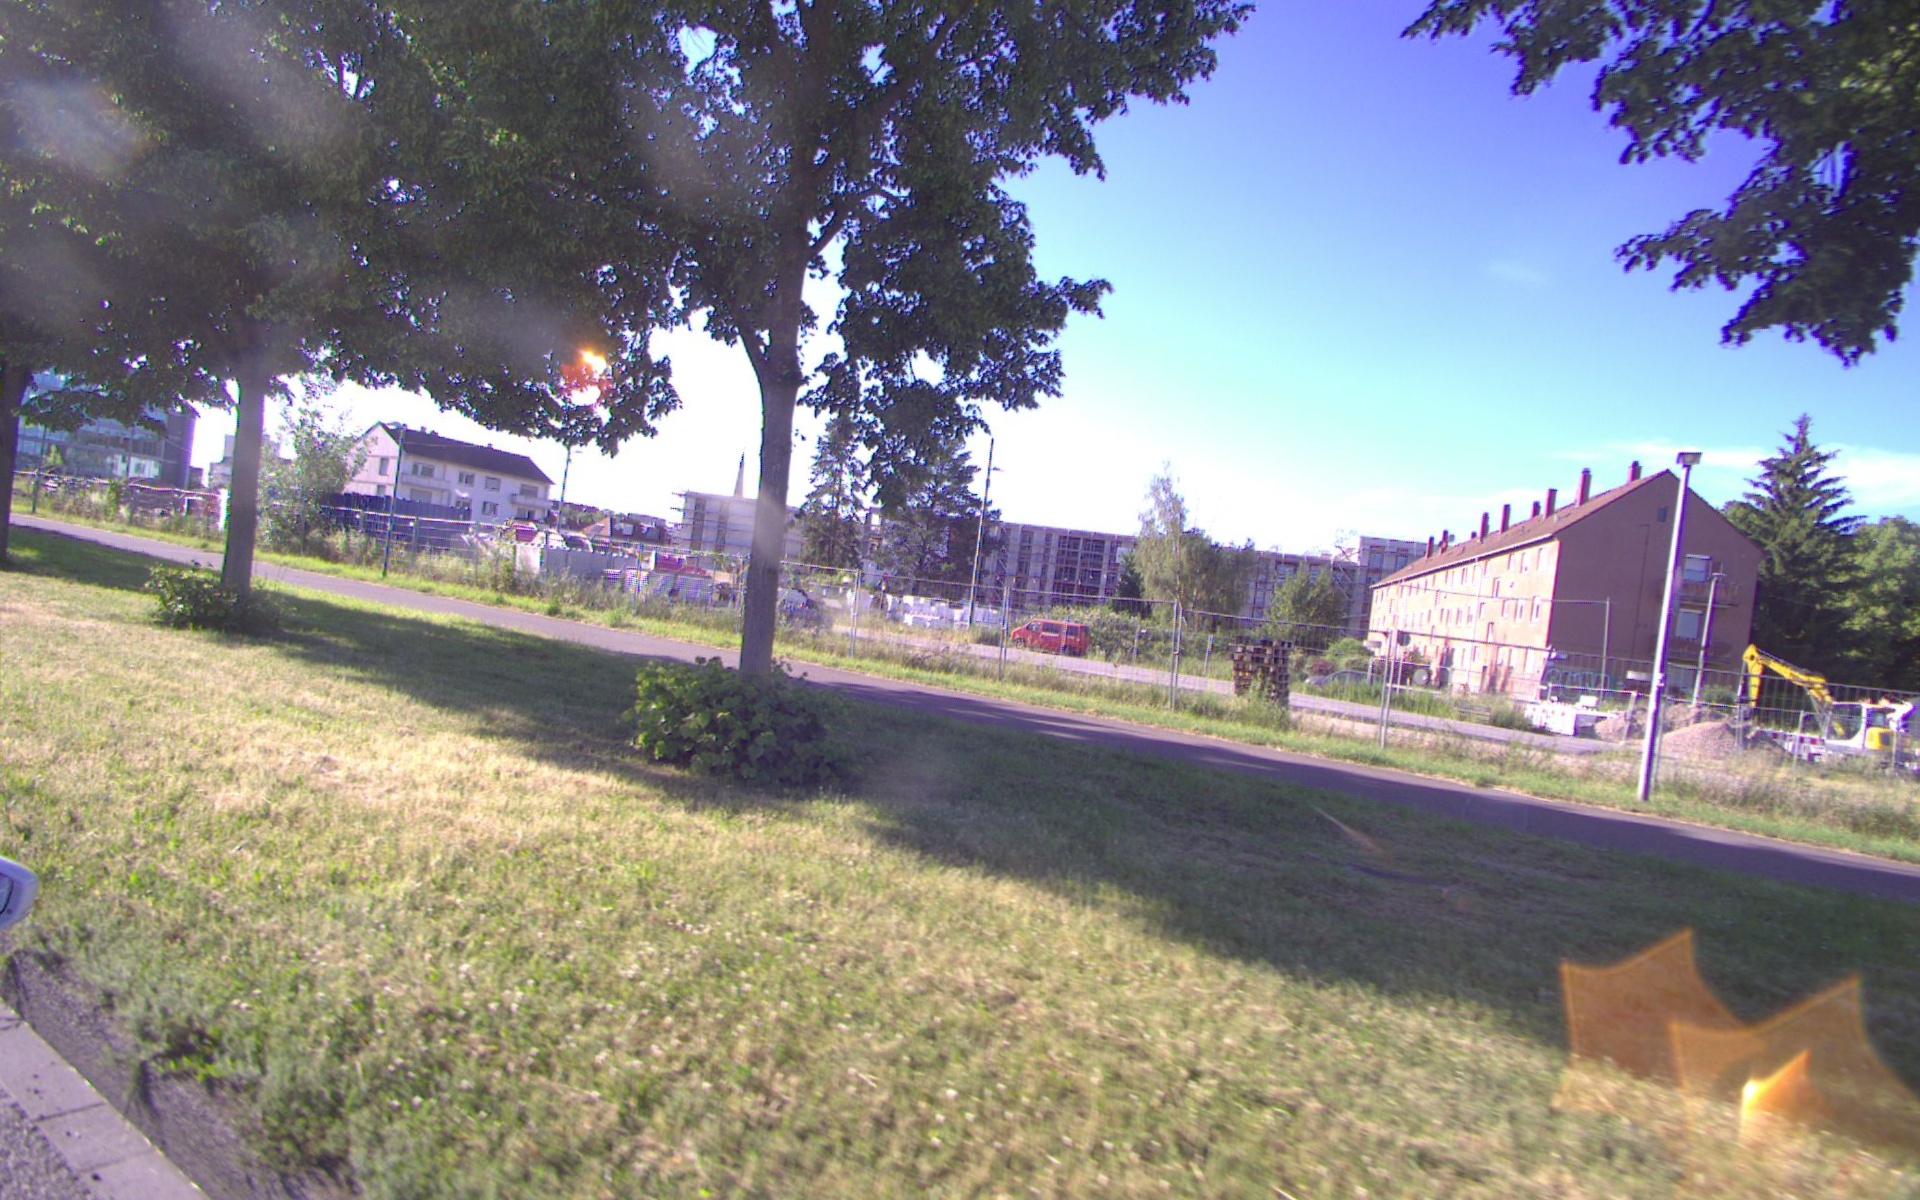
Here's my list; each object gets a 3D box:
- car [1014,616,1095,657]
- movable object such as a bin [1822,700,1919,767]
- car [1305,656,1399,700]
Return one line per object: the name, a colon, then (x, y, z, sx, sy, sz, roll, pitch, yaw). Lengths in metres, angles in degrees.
car: (5.406, 2.097, 57.585, 3.934, 1.748, 2.174, 7, 0, 33)
movable object such as a bin: (33.594, 4.885, 36.931, 1.966, 2.037, 2.066, 6, -1, -9)
car: (19.198, 3.834, 49.322, 3.844, 1.576, 1.996, 7, 0, 33)
